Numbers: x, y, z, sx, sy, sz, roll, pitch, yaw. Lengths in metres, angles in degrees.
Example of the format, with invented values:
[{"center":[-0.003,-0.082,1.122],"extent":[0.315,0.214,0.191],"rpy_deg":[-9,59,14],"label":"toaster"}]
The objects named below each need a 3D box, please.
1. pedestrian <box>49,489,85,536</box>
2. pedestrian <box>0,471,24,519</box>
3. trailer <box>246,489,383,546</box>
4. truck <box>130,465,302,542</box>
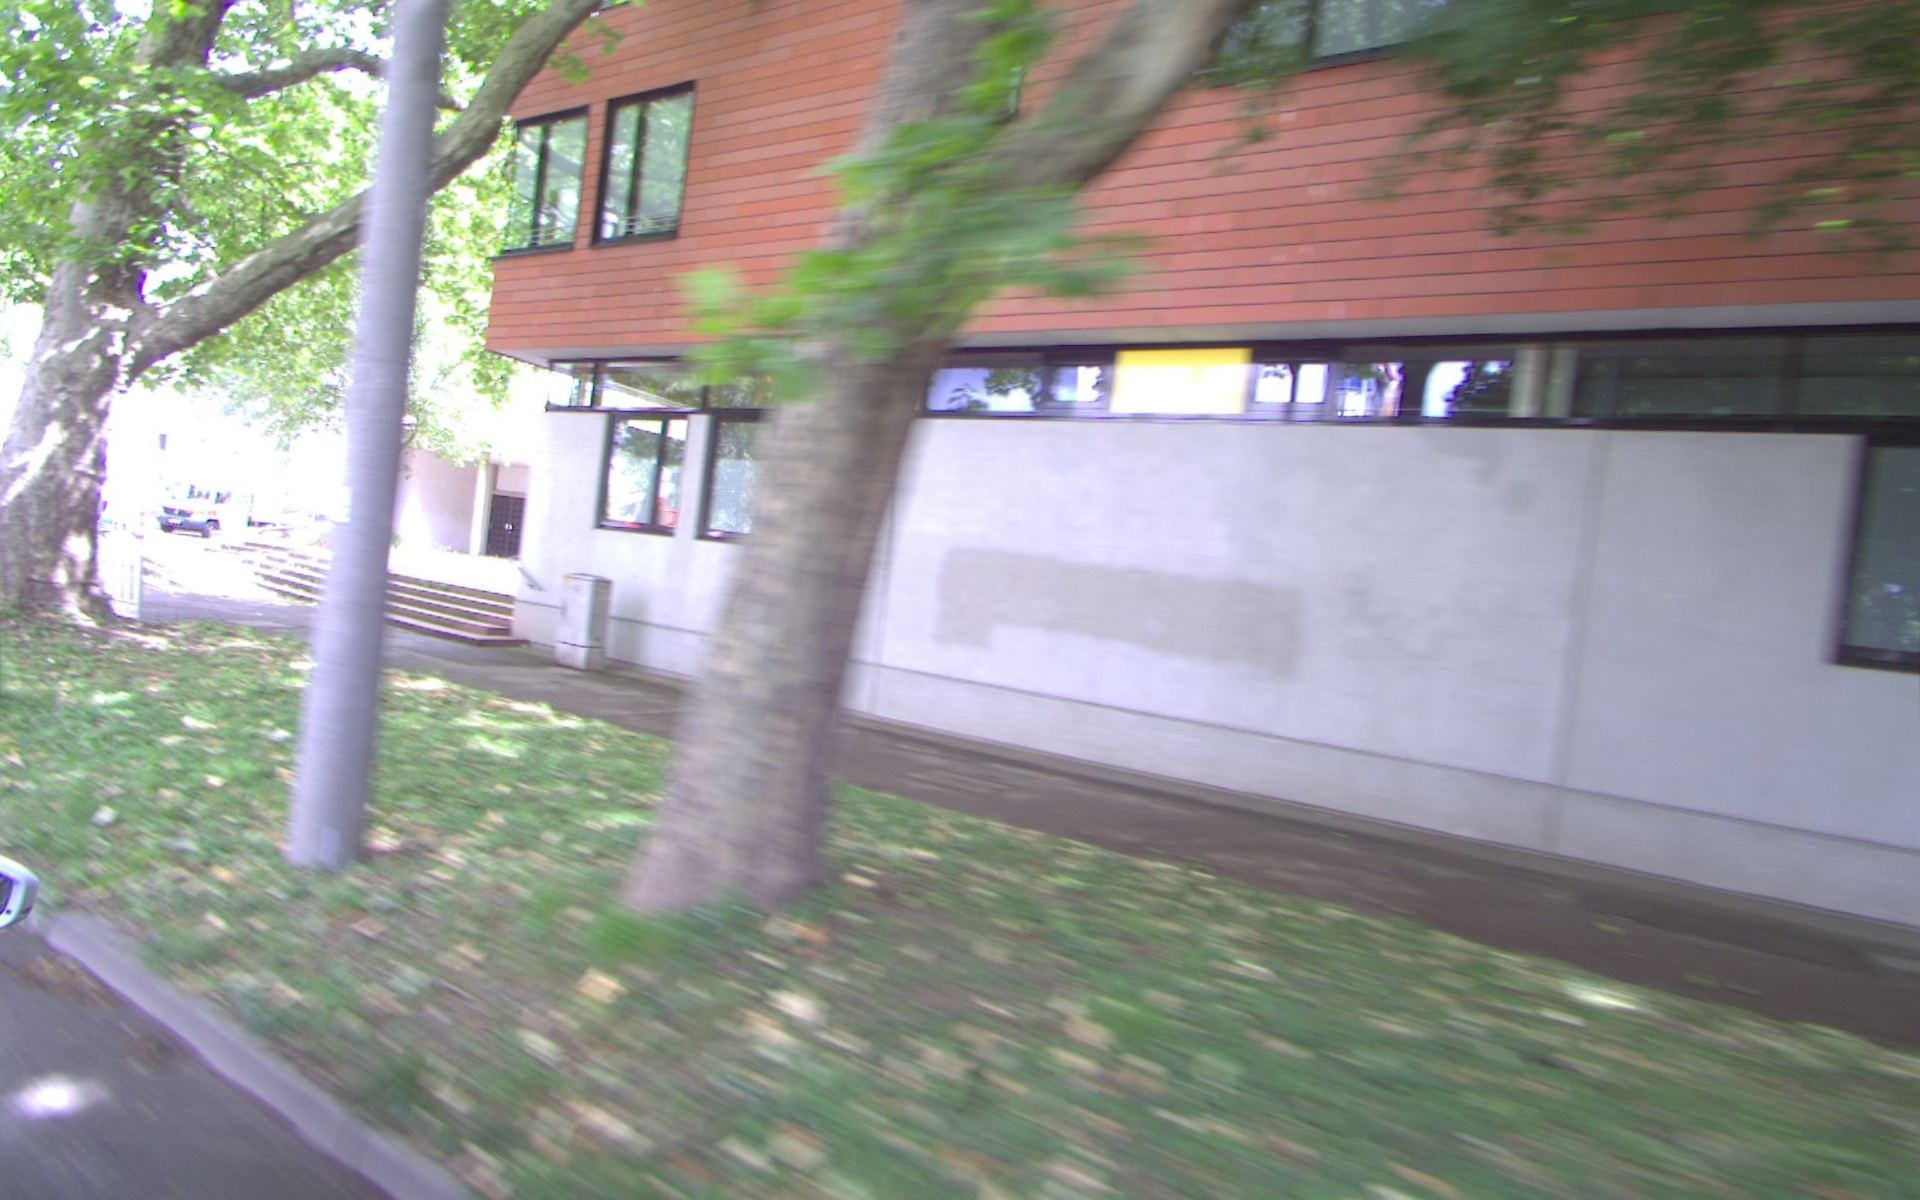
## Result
[{"center":[-32.672,-3.202,36.826],"extent":[0.758,1.570,0.892],"rpy_deg":[7,2,-36],"label":"pedestrian"},{"center":[-35.735,-3.944,37.572],"extent":[0.696,1.687,0.825],"rpy_deg":[7,-1,-18],"label":"pedestrian"},{"center":[-33.296,-4.203,52.198],"extent":[2.621,2.243,6.243],"rpy_deg":[8,2,3],"label":"trailer"},{"center":[-33.658,-4.280,45.881],"extent":[2.621,2.761,6.390],"rpy_deg":[8,2,3],"label":"truck"}]
